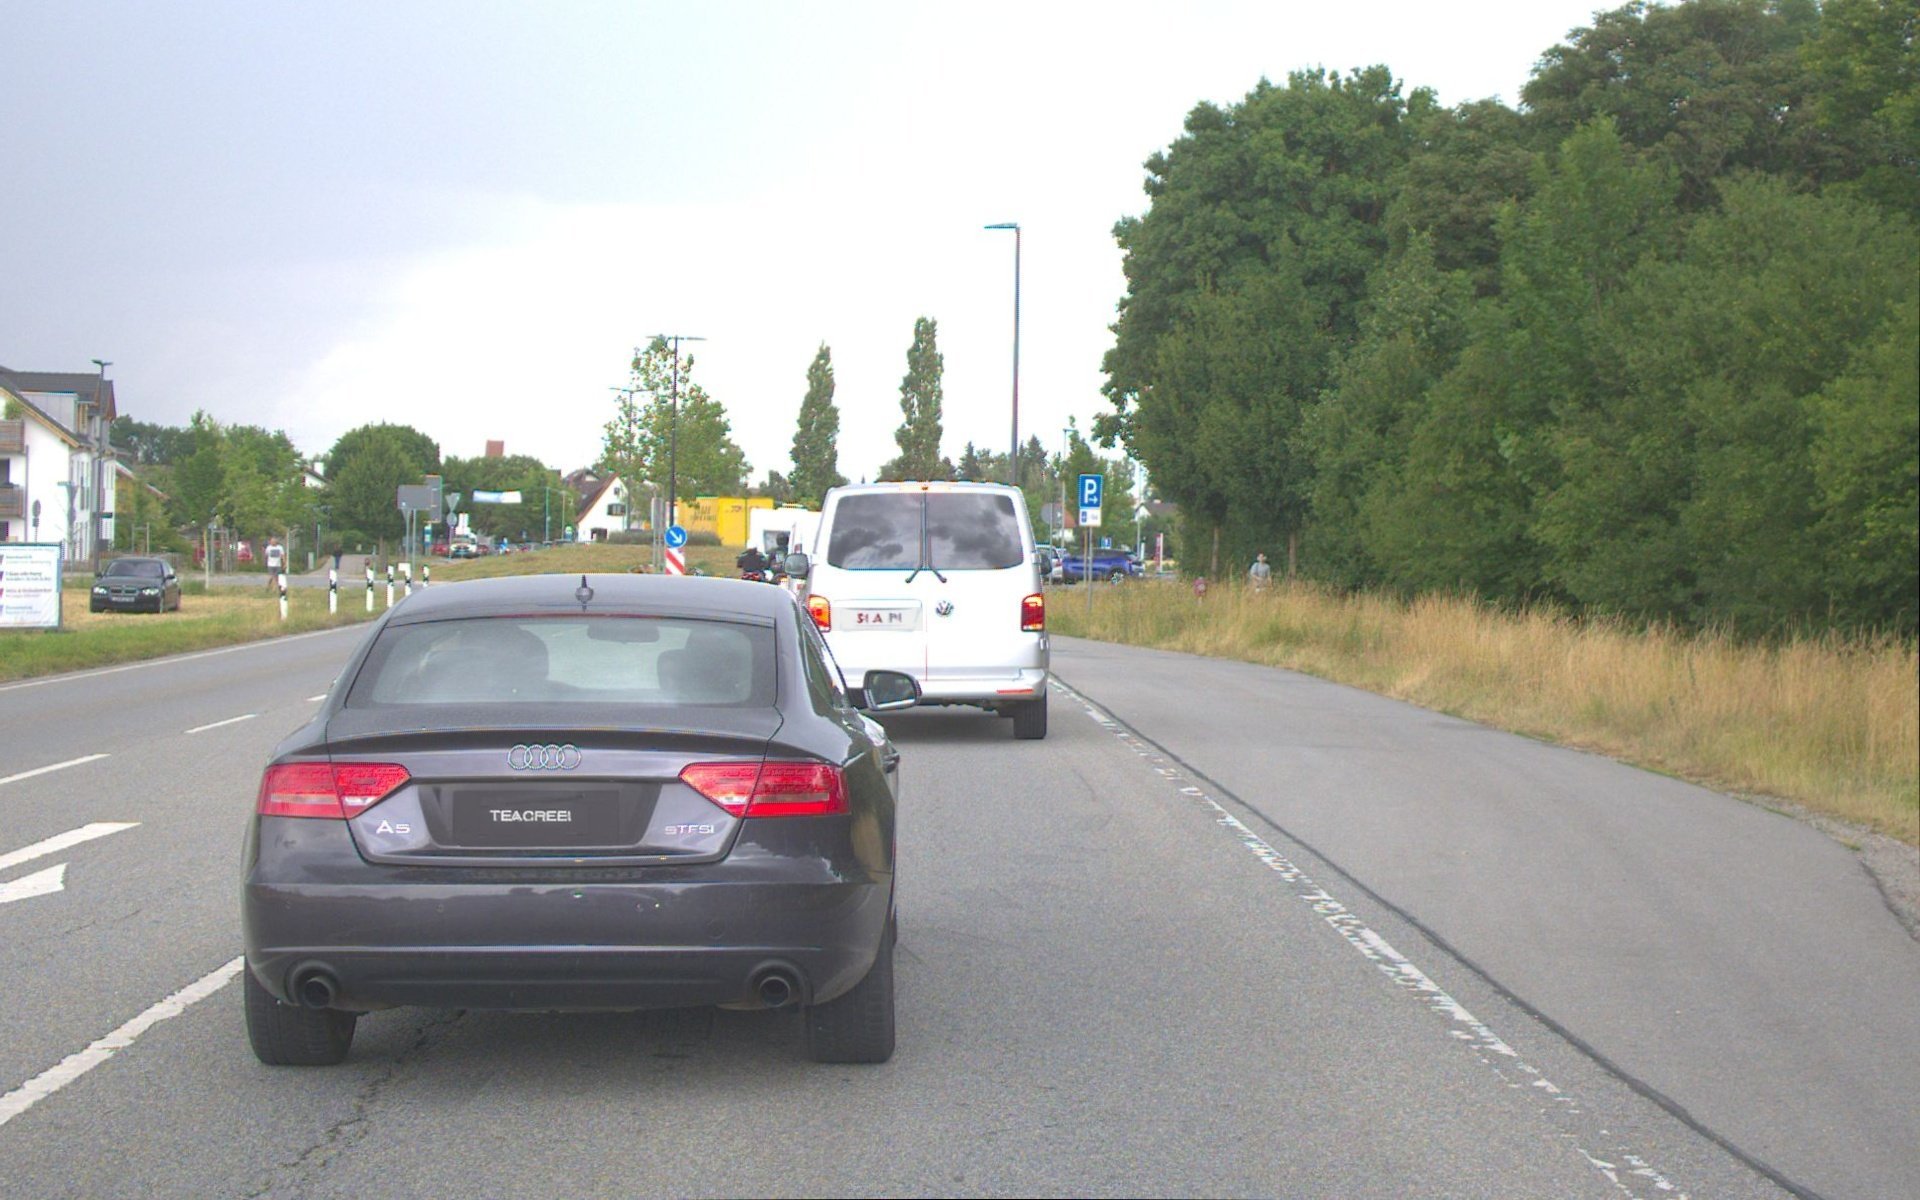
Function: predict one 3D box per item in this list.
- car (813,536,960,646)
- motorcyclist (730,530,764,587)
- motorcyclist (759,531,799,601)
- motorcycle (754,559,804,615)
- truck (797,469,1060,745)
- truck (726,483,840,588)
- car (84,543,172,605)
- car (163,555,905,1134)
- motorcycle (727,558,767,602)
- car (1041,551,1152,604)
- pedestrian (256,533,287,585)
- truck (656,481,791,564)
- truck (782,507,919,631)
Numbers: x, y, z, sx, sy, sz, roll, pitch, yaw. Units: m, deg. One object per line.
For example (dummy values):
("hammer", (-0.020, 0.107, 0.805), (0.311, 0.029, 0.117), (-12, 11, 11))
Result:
("car", (-1.048, -0.150, 49.029), (1.993, 1.480, 4.000), (1, 1, -1))
("motorcyclist", (-5.151, -1.011, 83.078), (0.785, 1.352, 0.854), (1, 1, -4))
("motorcyclist", (-3.656, -0.689, 69.471), (0.772, 1.379, 0.820), (1, 1, -2))
("motorcycle", (-3.658, -0.278, 69.468), (0.920, 1.090, 2.189), (1, 1, -1))
("truck", (-0.252, 0.010, 27.484), (1.904, 1.991, 4.629), (1, 1, -1))
("truck", (-4.897, -1.753, 94.406), (2.626, 2.728, 5.868), (1, 1, -7))
("car", (-20.907, -0.666, 86.462), (1.993, 1.437, 4.001), (1, 2, -11))
("car", (-1.123, 0.595, 10.804), (1.875, 1.449, 4.177), (0, 1, -1))
("motorcycle", (-5.161, -0.492, 83.157), (0.944, 1.016, 2.284), (1, 1, -4))
("car", (5.480, -0.912, 137.543), (3.991, 2.007, 1.998), (2, 1, 20))
("pedestrian", (-20.899, -1.244, 104.358), (0.701, 1.580, 0.657), (1, 1, 16))
("truck", (-10.803, -3.532, 155.874), (3.575, 3.566, 9.960), (1, 1, -19))
("truck", (-1.823, -0.542, 58.910), (2.193, 2.007, 5.085), (1, 1, 0))
